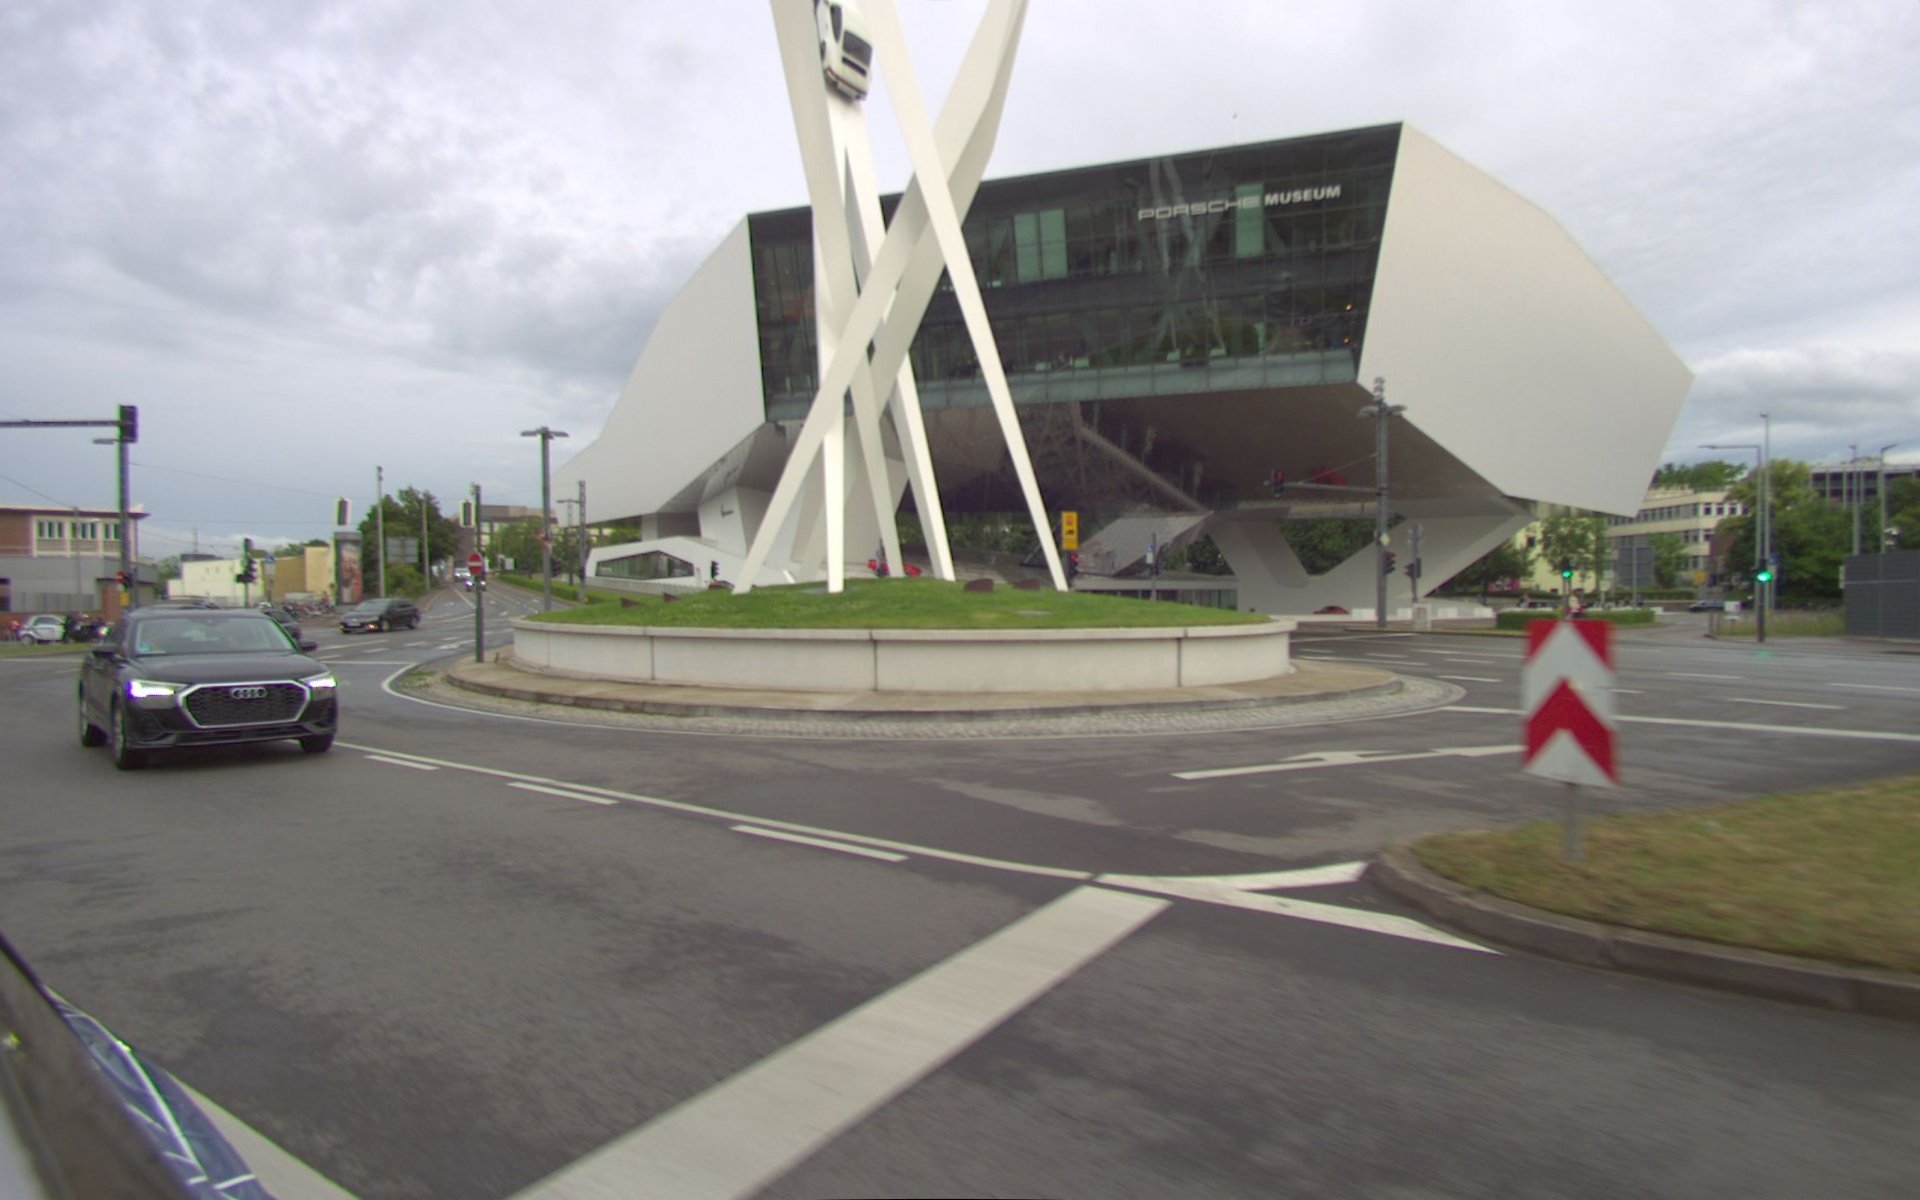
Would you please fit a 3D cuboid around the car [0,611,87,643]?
[{"bbox_3d":[-47.821,1.403,52.163,3.931,1.500,1.573,-2,1,-18],"label":"car"}]

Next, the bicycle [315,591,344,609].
[{"bbox_3d":[-38.986,-0.019,62.602,0.442,1.081,1.446,3,2,32],"label":"bicycle"}]

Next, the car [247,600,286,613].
[{"bbox_3d":[-87.152,0.766,127.202,3.938,1.436,1.723,-3,1,-41],"label":"car"}]

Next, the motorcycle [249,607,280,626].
[{"bbox_3d":[-36.489,0.854,53.108,0.539,0.902,1.746,-1,3,-4],"label":"motorcycle"}]

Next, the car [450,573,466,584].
[{"bbox_3d":[-74.399,-3.152,149.951,1.787,1.449,4.314,-1,0,-32],"label":"car"}]

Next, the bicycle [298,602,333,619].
[{"bbox_3d":[-36.529,0.571,57.361,1.589,0.928,0.423,-1,1,-15],"label":"bicycle"}]

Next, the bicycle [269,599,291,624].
[{"bbox_3d":[-35.856,0.593,53.362,0.393,1.183,2.022,-1,3,-18],"label":"bicycle"}]

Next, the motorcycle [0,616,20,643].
[{"bbox_3d":[-52.323,1.616,55.582,0.515,1.343,1.675,-3,3,-27],"label":"motorcycle"}]

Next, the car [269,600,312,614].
[{"bbox_3d":[-77.749,0.792,117.522,3.938,1.436,1.723,-3,1,-41],"label":"car"}]

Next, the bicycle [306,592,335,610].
[{"bbox_3d":[-40.321,0.062,63.827,1.518,1.163,0.452,0,2,-31],"label":"bicycle"}]

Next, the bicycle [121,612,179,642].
[{"bbox_3d":[-36.205,1.195,45.275,0.418,1.138,2.060,0,3,19],"label":"bicycle"}]

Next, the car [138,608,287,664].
[{"bbox_3d":[-21.129,0.965,28.838,1.788,1.449,4.312,1,-1,-12],"label":"car"}]

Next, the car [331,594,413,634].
[{"bbox_3d":[-26.111,0.575,45.087,1.722,1.485,4.077,-2,3,-8],"label":"car"}]

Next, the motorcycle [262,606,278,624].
[{"bbox_3d":[-37.162,0.820,54.513,0.427,0.897,1.269,-1,3,-20],"label":"motorcycle"}]

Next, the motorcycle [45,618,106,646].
[{"bbox_3d":[-38.820,1.405,44.436,2.063,1.154,0.489,-2,3,-5],"label":"motorcycle"}]

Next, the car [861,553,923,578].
[{"bbox_3d":[-5.216,-2.631,77.605,4.211,1.394,1.989,7,3,17],"label":"car"}]

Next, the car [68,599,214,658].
[{"bbox_3d":[-25.352,0.820,31.519,1.668,1.518,4.019,-2,3,-8],"label":"car"}]

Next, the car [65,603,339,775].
[{"bbox_3d":[-8.483,0.829,11.167,4.396,1.530,1.732,-1,-1,44],"label":"car"}]

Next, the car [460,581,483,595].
[{"bbox_3d":[-52.859,-1.269,109.469,1.787,1.449,4.314,-1,0,-32],"label":"car"}]

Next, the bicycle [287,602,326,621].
[{"bbox_3d":[-35.435,0.596,54.863,1.716,0.969,0.423,-1,3,-18],"label":"bicycle"}]

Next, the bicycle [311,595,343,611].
[{"bbox_3d":[-39.421,0.194,63.066,0.484,0.928,1.689,1,2,27],"label":"bicycle"}]

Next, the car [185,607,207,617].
[{"bbox_3d":[-112.006,1.766,148.335,3.996,1.436,1.698,-1,1,39],"label":"car"}]
